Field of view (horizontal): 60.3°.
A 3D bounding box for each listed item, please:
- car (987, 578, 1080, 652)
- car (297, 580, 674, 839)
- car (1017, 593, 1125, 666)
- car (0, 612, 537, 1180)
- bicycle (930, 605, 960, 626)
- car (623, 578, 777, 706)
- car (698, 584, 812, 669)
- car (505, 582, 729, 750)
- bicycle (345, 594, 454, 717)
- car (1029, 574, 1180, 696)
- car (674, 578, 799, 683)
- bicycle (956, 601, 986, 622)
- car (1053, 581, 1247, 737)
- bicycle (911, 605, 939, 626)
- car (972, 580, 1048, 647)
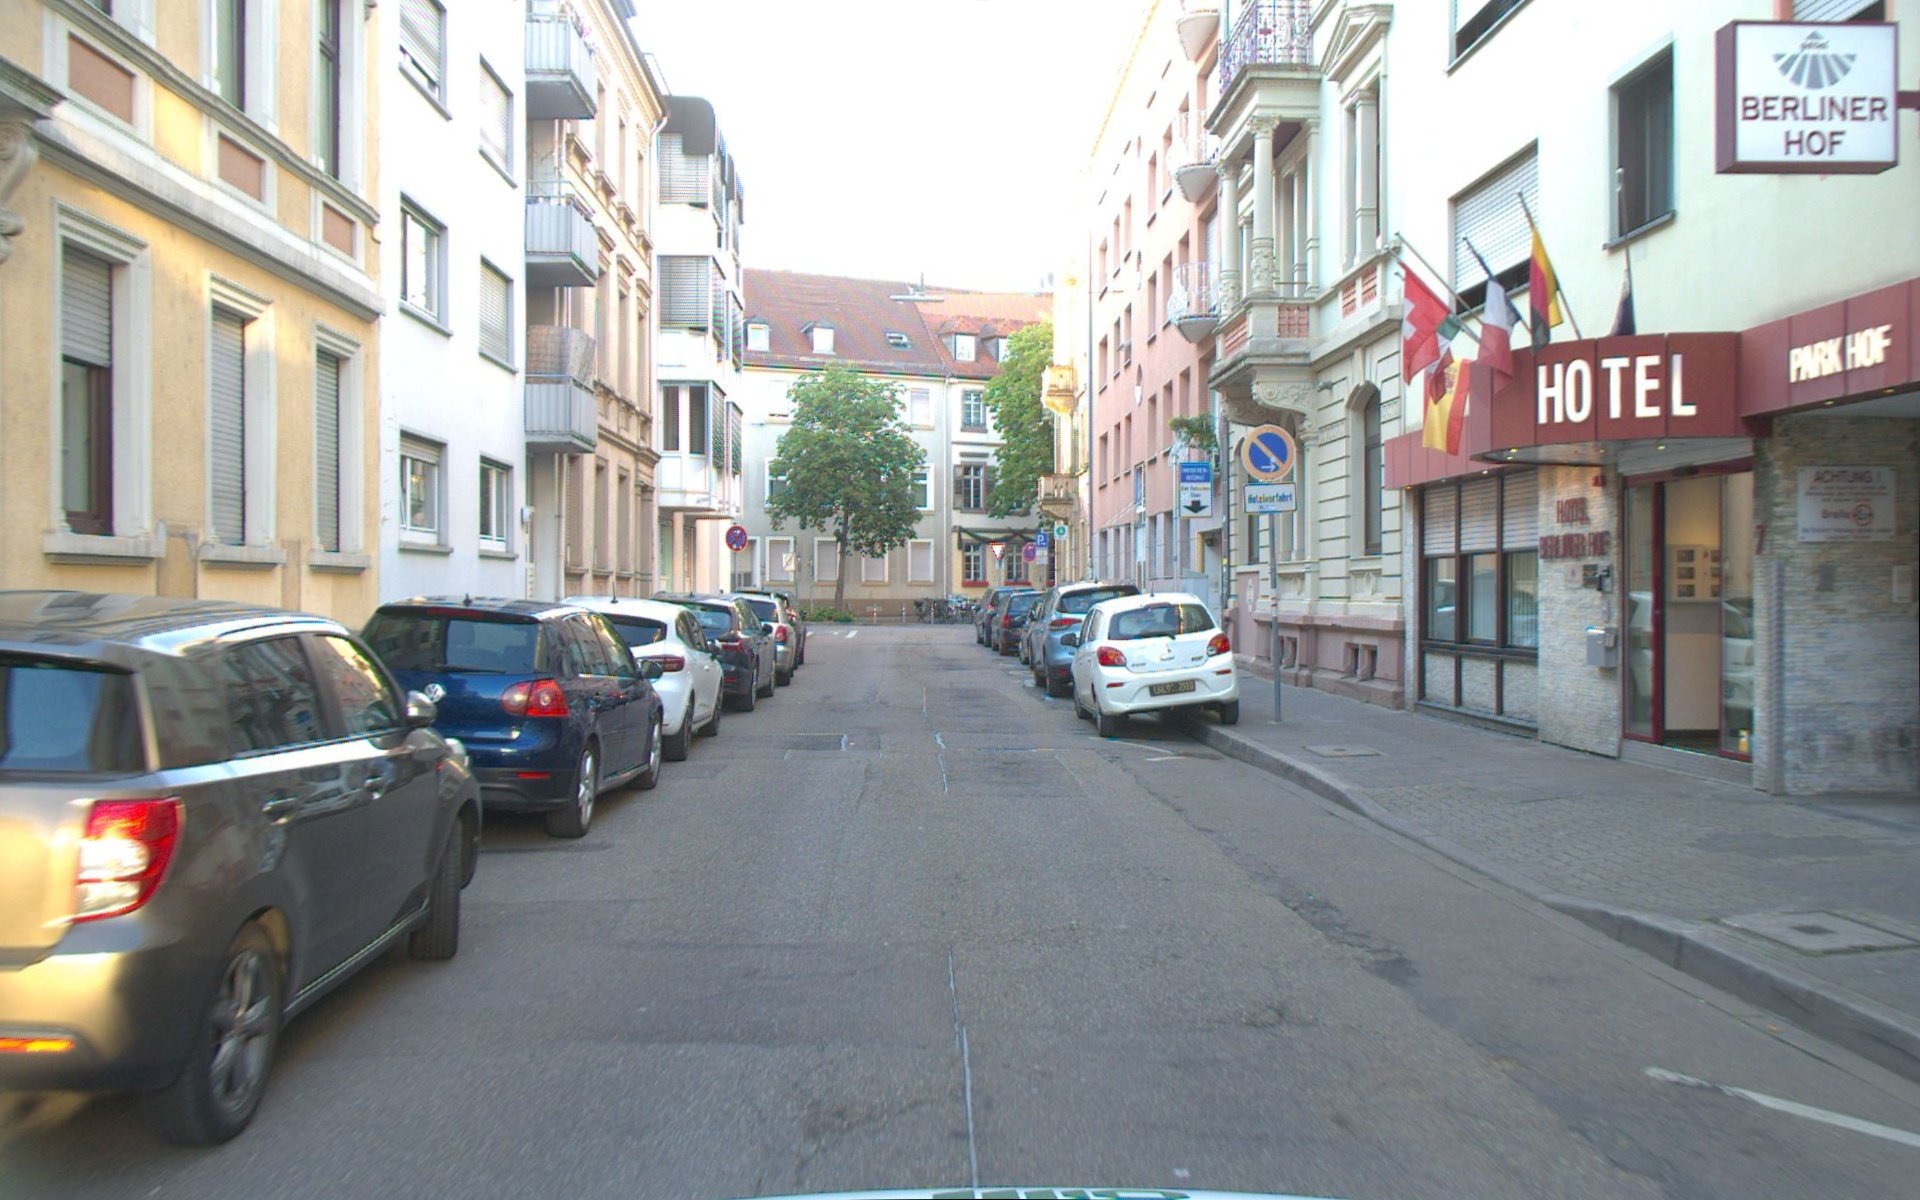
[{"bbox_3d":[1.796,0.346,41.678,1.954,1.738,3.998,-1,0,-3],"label":"car"},{"bbox_3d":[-3.173,0.632,11.842,1.693,1.535,3.829,0,1,-2],"label":"car"},{"bbox_3d":[2.259,0.582,34.557,1.953,1.408,3.706,-1,0,-1],"label":"car"},{"bbox_3d":[-2.830,0.728,6.017,1.650,1.355,4.130,0,0,-2],"label":"car"},{"bbox_3d":[-0.708,0.700,77.163,0.513,0.910,1.704,-1,2,-34],"label":"bicycle"},{"bbox_3d":[-3.498,0.496,22.908,1.582,1.597,4.302,0,1,-2],"label":"car"},{"bbox_3d":[-4.276,0.516,35.021,1.953,1.691,3.977,-1,0,-1],"label":"car"},{"bbox_3d":[-3.369,0.574,16.862,1.597,1.498,3.753,0,1,-2],"label":"car"},{"bbox_3d":[-5.994,0.560,17.784,0.512,1.221,2.122,-1,0,-3],"label":"bicycle"},{"bbox_3d":[2.185,0.497,26.110,1.953,1.762,4.058,0,0,-1],"label":"car"},{"bbox_3d":[-3.834,0.474,28.982,1.955,1.695,4.405,0,0,-5],"label":"car"},{"bbox_3d":[0.508,0.543,77.807,0.513,0.965,1.704,0,0,-34],"label":"bicycle"},{"bbox_3d":[2.154,0.612,19.641,1.629,1.483,3.758,-6,1,-2],"label":"car"},{"bbox_3d":[-1.667,0.727,78.592,0.513,0.965,1.704,0,-1,-34],"label":"bicycle"},{"bbox_3d":[1.376,0.347,46.741,1.953,1.792,3.999,-1,0,-1],"label":"car"}]
